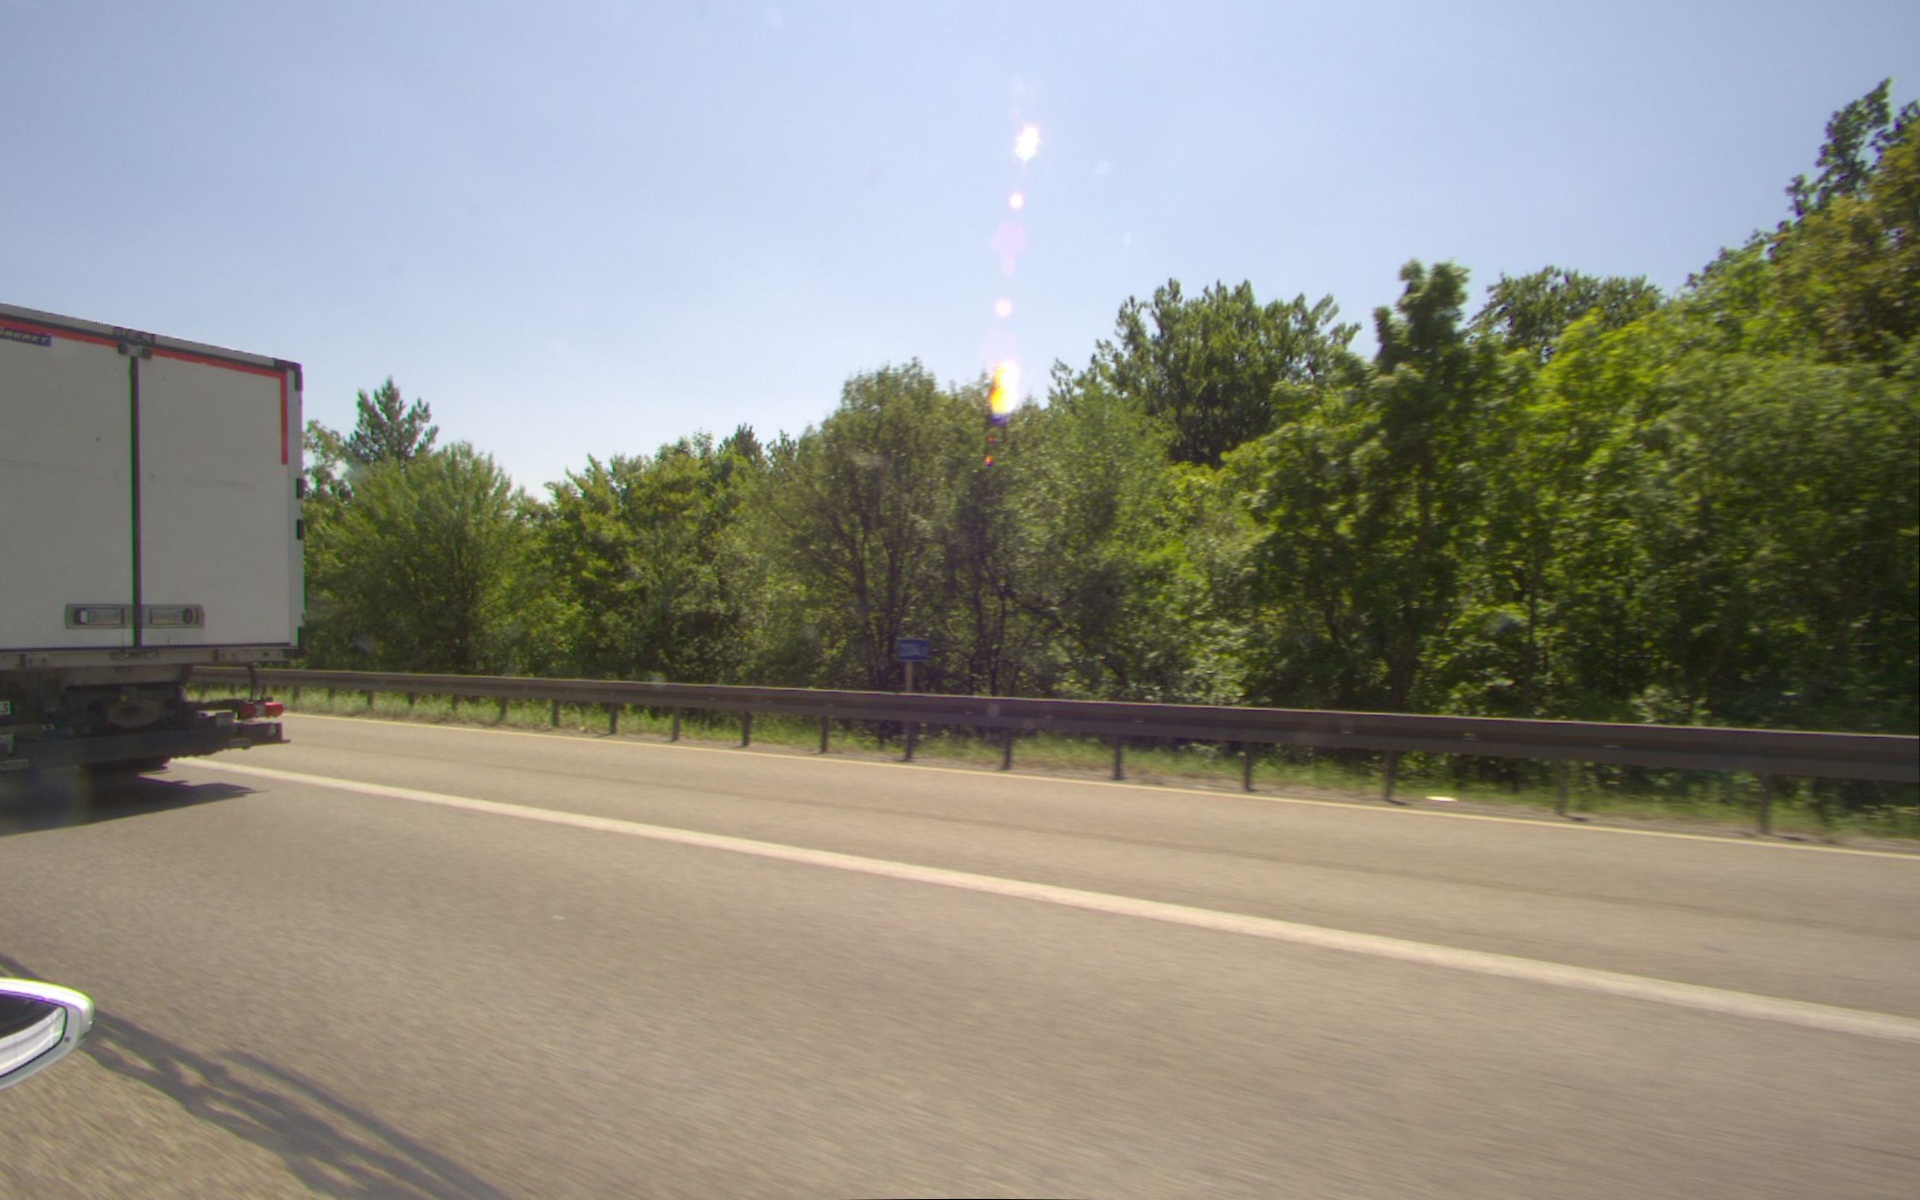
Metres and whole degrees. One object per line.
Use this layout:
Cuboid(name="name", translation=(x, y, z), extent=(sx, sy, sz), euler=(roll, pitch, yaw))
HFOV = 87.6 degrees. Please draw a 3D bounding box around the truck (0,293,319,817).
Cuboid(name="truck", translation=(-10.832, -0.287, 10.836), extent=(9.639, 3.927, 2.683), euler=(-1, 0, 32))
